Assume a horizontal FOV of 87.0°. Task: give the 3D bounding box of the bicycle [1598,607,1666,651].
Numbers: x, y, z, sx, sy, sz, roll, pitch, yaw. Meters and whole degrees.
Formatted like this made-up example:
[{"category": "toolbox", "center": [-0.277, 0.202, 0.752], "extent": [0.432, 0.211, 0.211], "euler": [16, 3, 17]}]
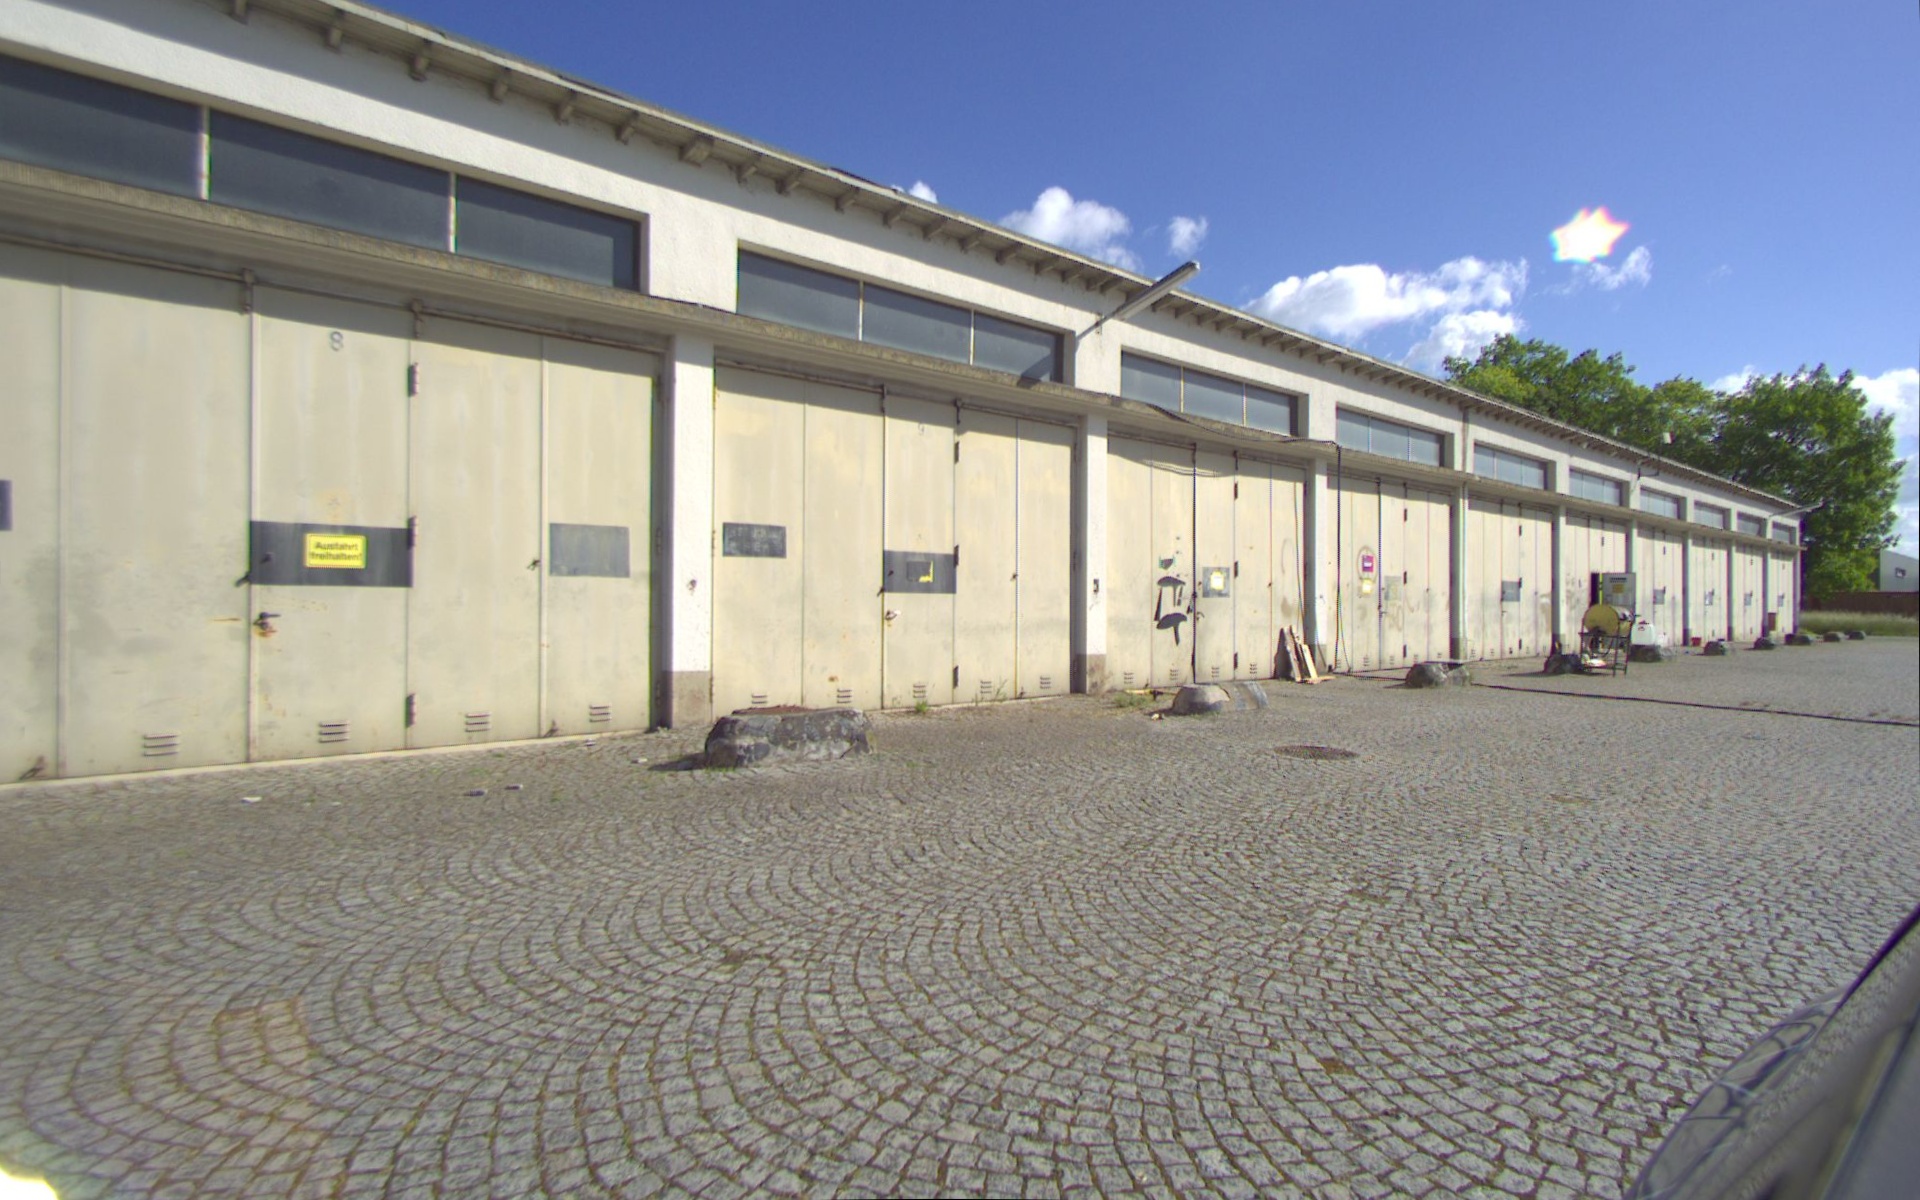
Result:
[{"category": "bicycle", "center": [17.220, 0.733, 25.921], "extent": [1.787, 1.082, 0.667], "euler": [-1, -1, -29]}]
